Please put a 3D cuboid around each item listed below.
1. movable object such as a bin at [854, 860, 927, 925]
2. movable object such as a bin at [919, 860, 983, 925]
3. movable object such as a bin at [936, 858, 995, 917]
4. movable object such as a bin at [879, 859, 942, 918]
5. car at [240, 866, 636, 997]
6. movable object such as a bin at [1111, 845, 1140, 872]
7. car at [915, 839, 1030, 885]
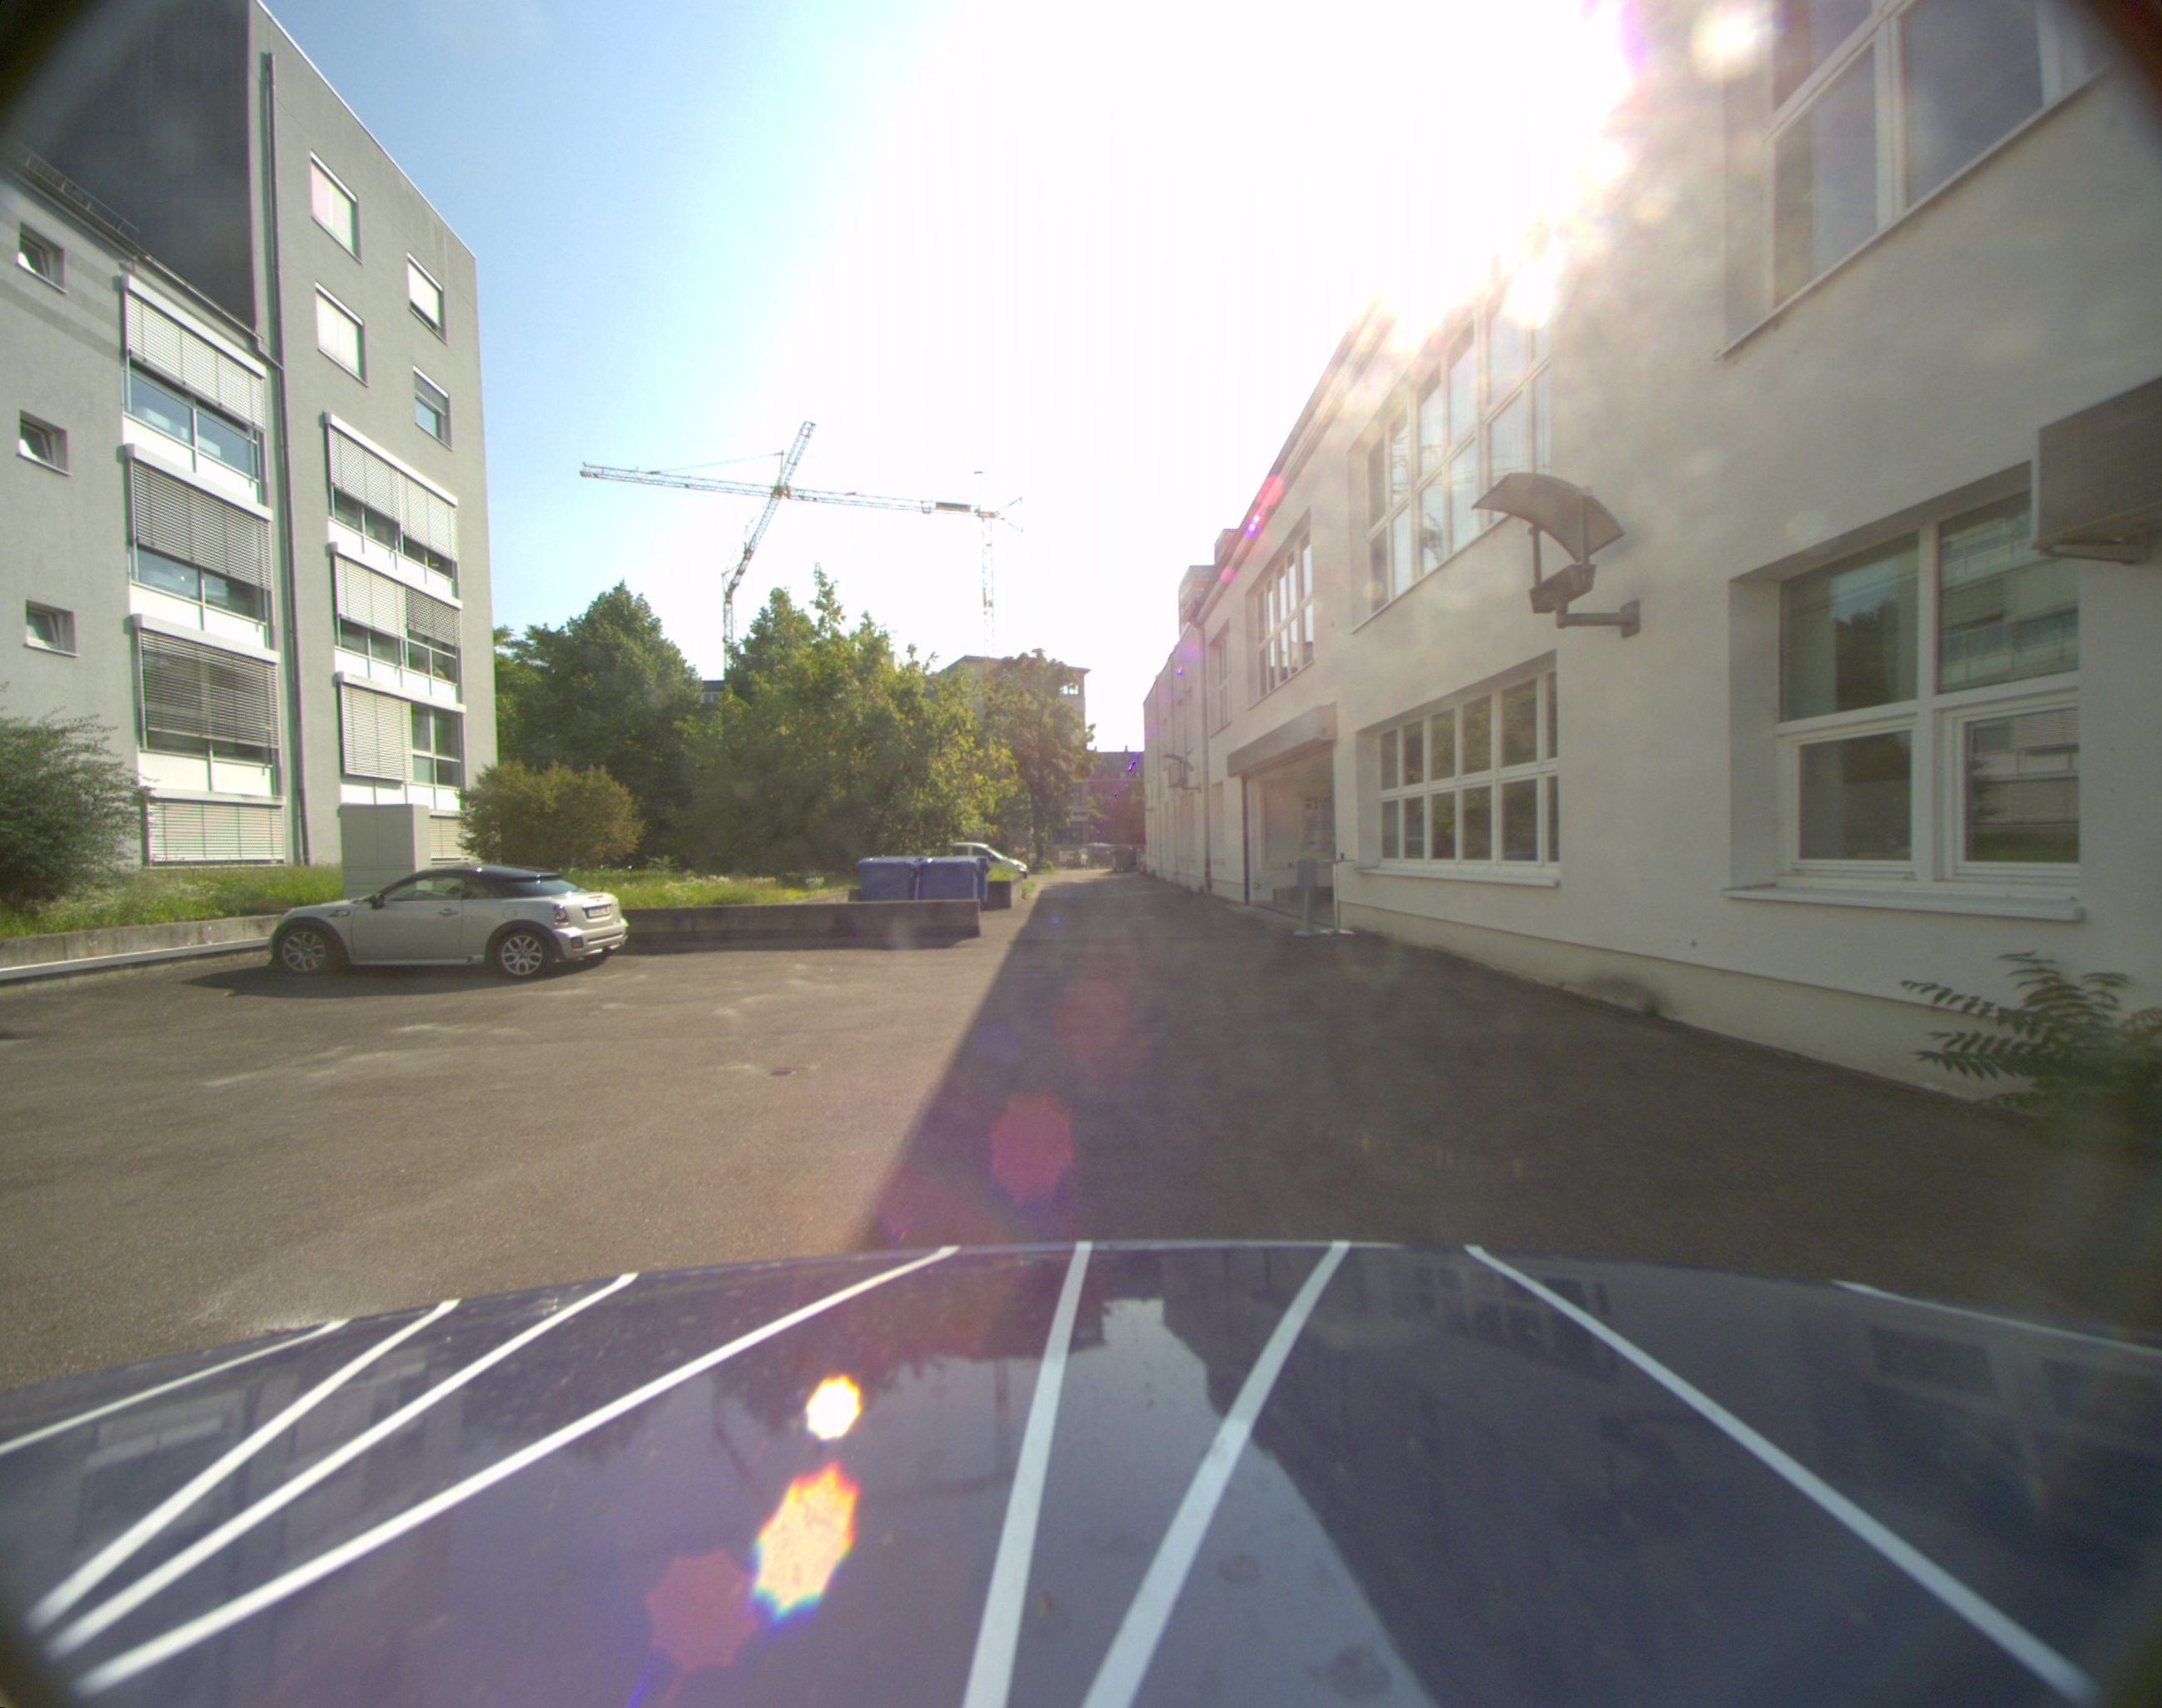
[{"bbox_3d":[-4.186,0.829,16.849,1.257,1.320,1.275,-1,1,0],"label":"movable object such as a bin"},{"bbox_3d":[-2.849,0.820,16.837,1.214,1.343,1.274,-1,1,-3],"label":"movable object such as a bin"},{"bbox_3d":[-2.778,0.790,18.444,1.200,1.320,1.275,-1,1,0],"label":"movable object such as a bin"},{"bbox_3d":[-4.110,0.806,18.412,1.200,1.320,1.275,-1,1,0],"label":"movable object such as a bin"},{"bbox_3d":[-8.057,0.918,9.819,3.580,1.429,1.658,-1,1,-4],"label":"car"},{"bbox_3d":[2.558,0.249,43.456,1.524,1.457,1.275,-1,1,-1],"label":"movable object such as a bin"},{"bbox_3d":[-4.759,0.360,33.883,4.790,1.920,1.909,-1,1,1],"label":"car"}]
